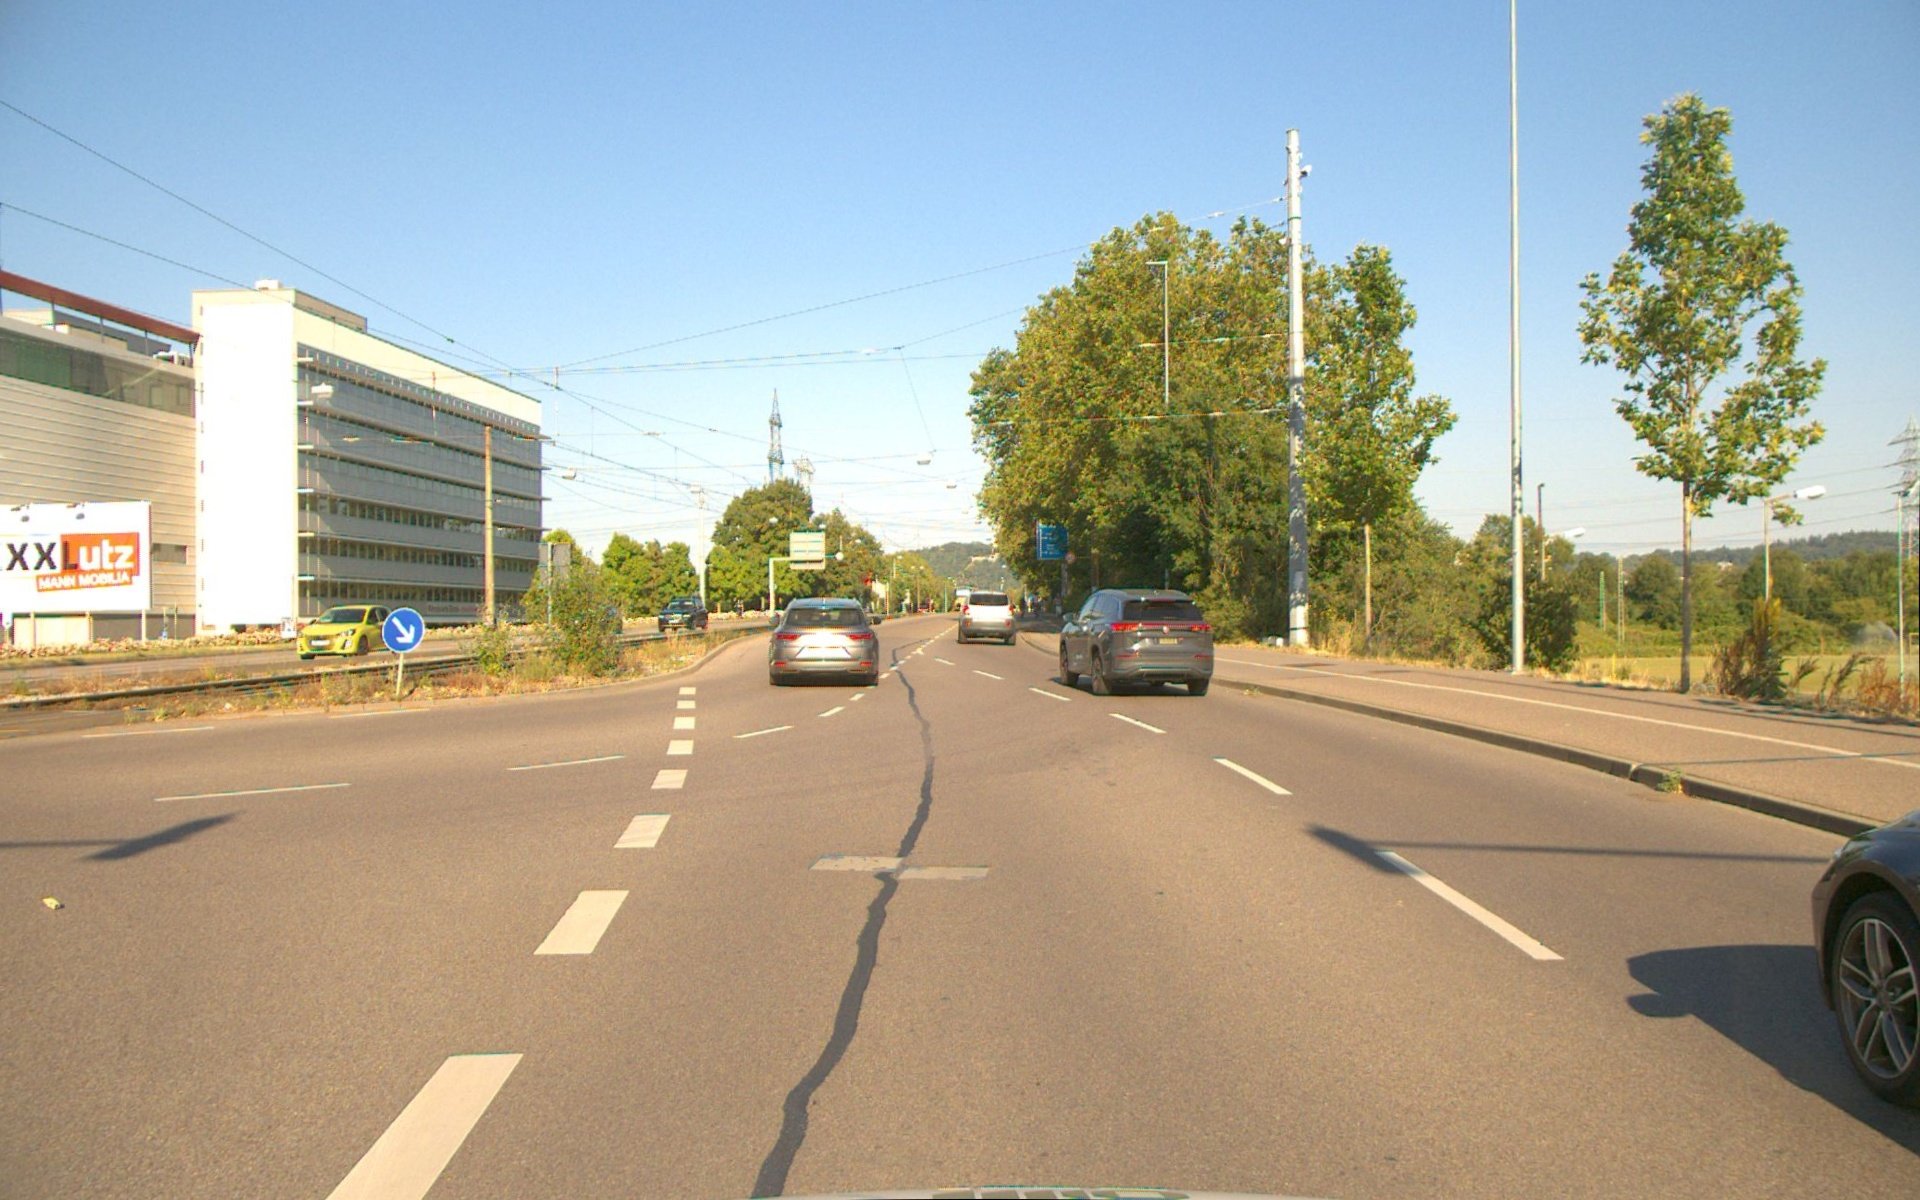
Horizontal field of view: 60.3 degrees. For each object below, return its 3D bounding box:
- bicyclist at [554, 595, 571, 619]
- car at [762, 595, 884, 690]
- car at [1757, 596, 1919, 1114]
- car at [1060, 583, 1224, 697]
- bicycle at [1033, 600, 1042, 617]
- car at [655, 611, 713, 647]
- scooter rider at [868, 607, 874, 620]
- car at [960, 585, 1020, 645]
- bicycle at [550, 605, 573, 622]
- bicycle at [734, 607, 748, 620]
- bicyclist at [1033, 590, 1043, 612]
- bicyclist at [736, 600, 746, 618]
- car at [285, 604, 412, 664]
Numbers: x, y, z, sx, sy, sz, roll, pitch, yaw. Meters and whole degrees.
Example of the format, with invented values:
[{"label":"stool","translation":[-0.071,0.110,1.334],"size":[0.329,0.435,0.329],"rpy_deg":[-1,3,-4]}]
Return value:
[{"label":"bicyclist","translation":[-26.133,0.458,108.747],"size":[0.690,1.539,0.971],"rpy_deg":[1,0,9]},{"label":"car","translation":[-2.301,0.676,28.885],"size":[1.828,1.493,4.664],"rpy_deg":[1,0,-1]},{"label":"car","translation":[3.650,0.746,3.489],"size":[1.827,1.493,4.587],"rpy_deg":[1,0,2]},{"label":"car","translation":[2.874,0.591,27.019],"size":[1.808,1.690,4.435],"rpy_deg":[1,0,-5]},{"label":"bicycle","translation":[5.412,0.613,115.241],"size":[0.609,1.140,1.813],"rpy_deg":[-2,0,2]},{"label":"car","translation":[-14.310,1.486,85.959],"size":[1.952,1.684,4.660],"rpy_deg":[-2,0,3]},{"label":"scooter rider","translation":[-13.767,2.078,254.769],"size":[0.667,1.881,1.001],"rpy_deg":[-1,0,10]},{"label":"car","translation":[0.993,0.454,53.935],"size":[1.844,1.827,4.001],"rpy_deg":[1,0,2]},{"label":"bicycle","translation":[-26.157,0.855,108.666],"size":[0.690,1.092,2.029],"rpy_deg":[1,0,9]},{"label":"bicycle","translation":[-20.299,1.263,153.535],"size":[0.647,1.171,2.023],"rpy_deg":[1,0,12]},{"label":"bicyclist","translation":[5.458,0.087,115.260],"size":[0.671,1.535,0.891],"rpy_deg":[0,0,2]},{"label":"bicyclist","translation":[-20.311,0.864,153.428],"size":[0.647,1.652,0.802],"rpy_deg":[1,0,12]},{"label":"car","translation":[-16.866,0.906,45.810],"size":[1.746,1.473,4.110],"rpy_deg":[-2,0,3]}]
